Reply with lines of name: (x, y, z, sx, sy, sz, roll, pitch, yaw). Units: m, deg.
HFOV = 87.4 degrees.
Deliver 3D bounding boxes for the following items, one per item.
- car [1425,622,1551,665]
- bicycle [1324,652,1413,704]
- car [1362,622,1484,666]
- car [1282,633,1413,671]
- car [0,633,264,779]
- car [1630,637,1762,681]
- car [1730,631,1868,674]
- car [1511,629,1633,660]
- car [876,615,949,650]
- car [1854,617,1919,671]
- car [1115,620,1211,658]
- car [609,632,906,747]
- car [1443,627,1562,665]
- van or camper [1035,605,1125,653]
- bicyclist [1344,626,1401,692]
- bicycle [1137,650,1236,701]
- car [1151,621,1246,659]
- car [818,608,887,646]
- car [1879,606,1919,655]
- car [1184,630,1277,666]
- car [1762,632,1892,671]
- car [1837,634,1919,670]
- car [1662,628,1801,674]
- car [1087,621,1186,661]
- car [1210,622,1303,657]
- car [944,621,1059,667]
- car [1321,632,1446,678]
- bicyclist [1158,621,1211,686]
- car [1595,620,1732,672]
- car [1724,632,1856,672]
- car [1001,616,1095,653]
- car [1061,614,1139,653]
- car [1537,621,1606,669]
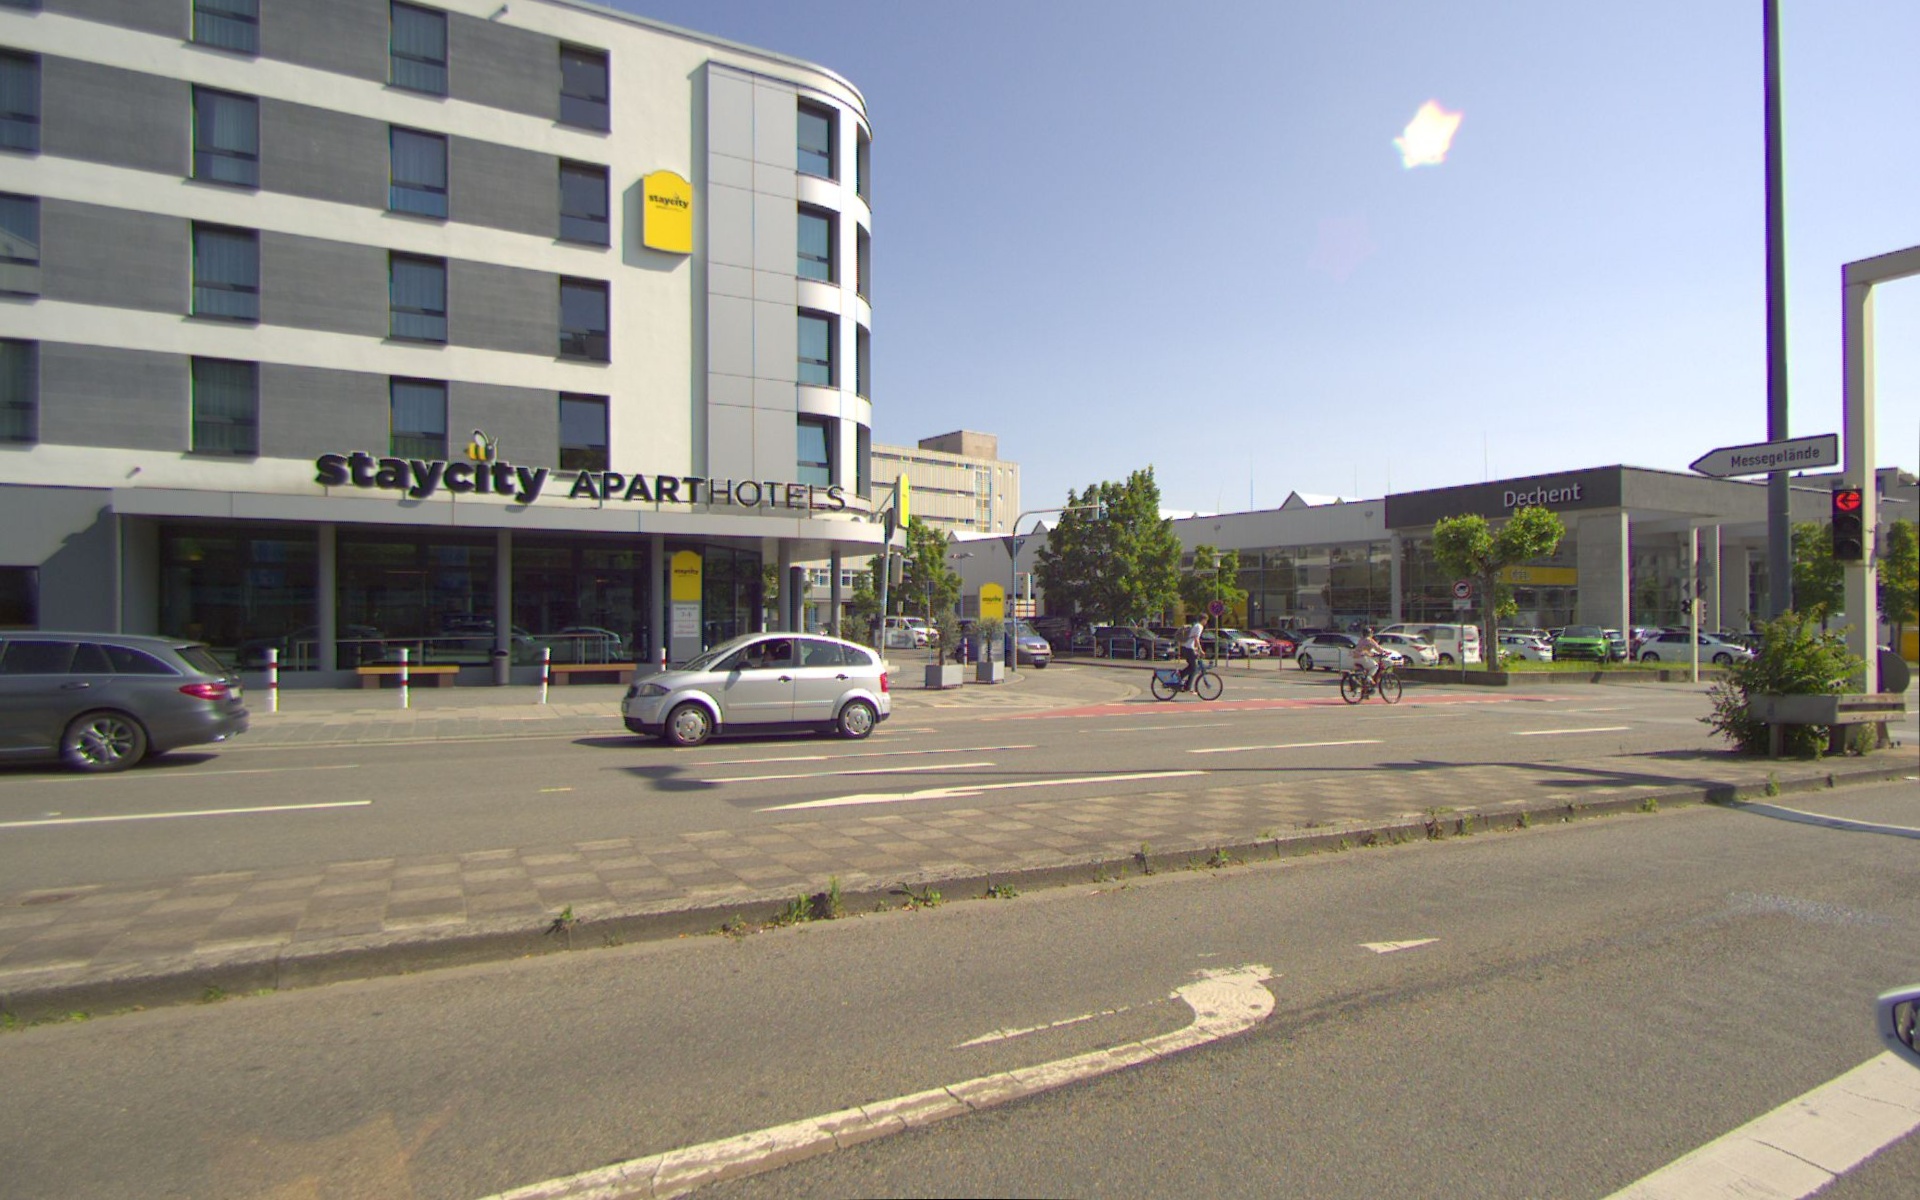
car: (22.340, 1.804, 42.628, 1.982, 1.719, 4.325, 2, -2, -37)
bicycle: (9.503, 1.789, 23.348, 2.135, 1.131, 0.765, 1, -2, -28)
car: (19.540, 1.832, 42.539, 1.982, 1.719, 4.325, 2, -2, -37)
car: (14.730, 1.936, 38.355, 1.980, 1.317, 4.330, 2, -2, -34)
car: (-10.310, 1.076, 10.685, 4.529, 1.446, 1.948, 2, -2, -28)
car: (30.122, 2.383, 41.206, 1.981, 1.620, 3.960, 2, -2, -35)
car: (37.133, 2.298, 44.575, 1.977, 1.719, 4.335, 2, -1, -31)
car: (27.573, 2.010, 45.380, 1.982, 1.284, 4.326, 4, -4, -36)
car: (-2.826, 1.888, 58.864, 1.970, 1.815, 4.378, 2, 0, -41)
car: (48.871, 2.224, 51.214, 2.096, 2.719, 4.491, 1, -1, -20)
car: (9.584, 1.822, 47.736, 1.980, 1.719, 4.330, 2, -2, -34)
car: (-2.894, 1.231, 14.462, 3.866, 1.457, 1.766, 2, -3, -28)
car: (24.254, 2.028, 45.039, 1.981, 1.612, 4.326, 2, -2, -36)
van or camper: (6.206, 1.496, 52.409, 1.982, 2.432, 4.679, 2, -2, -38)
bicyclist: (9.591, 1.355, 23.365, 1.014, 1.479, 0.765, 1, -1, -28)
bicycle: (5.259, 1.746, 23.352, 2.121, 1.131, 0.770, 1, -1, -6)
car: (11.540, 1.909, 48.829, 1.980, 1.719, 4.330, 2, -2, -34)
car: (-6.779, 1.656, 63.048, 1.985, 2.158, 4.567, 2, 0, -41)
car: (53.067, 1.666, 54.520, 1.972, 2.635, 4.346, 1, -1, -24)
car: (13.606, 2.392, 50.690, 1.980, 1.719, 4.330, 2, -2, -34)
car: (41.392, 2.430, 48.038, 1.977, 1.719, 4.334, 2, -2, -31)
car: (46.783, 2.567, 49.975, 1.972, 1.719, 4.346, 1, -2, -24)
car: (32.513, 2.126, 42.461, 1.977, 1.789, 4.275, 2, -2, -31)
car: (7.938, 1.831, 45.574, 1.980, 1.719, 4.330, 2, -2, -34)
car: (15.374, 2.011, 52.288, 1.982, 1.719, 4.325, 2, -2, -37)
car: (1.613, 1.729, 40.681, 1.983, 1.737, 4.774, 2, -2, -39)
car: (17.047, 2.177, 40.634, 1.980, 1.719, 4.330, 2, -2, -34)
bicyclist: (5.209, 1.230, 23.363, 1.008, 1.479, 0.770, 1, -1, -6)
car: (26.970, 1.735, 38.615, 1.978, 1.862, 3.850, 2, -2, -31)
car: (38.491, 2.364, 46.689, 1.977, 1.719, 4.334, 2, -2, -31)
car: (4.330, 1.689, 49.680, 4.305, 1.719, 1.991, 0, -2, 40)
car: (7.587, 1.783, 54.695, 1.982, 2.040, 3.957, 2, -2, -38)
car: (23.615, 1.753, 38.885, 1.870, 1.756, 3.293, 0, -3, 24)
